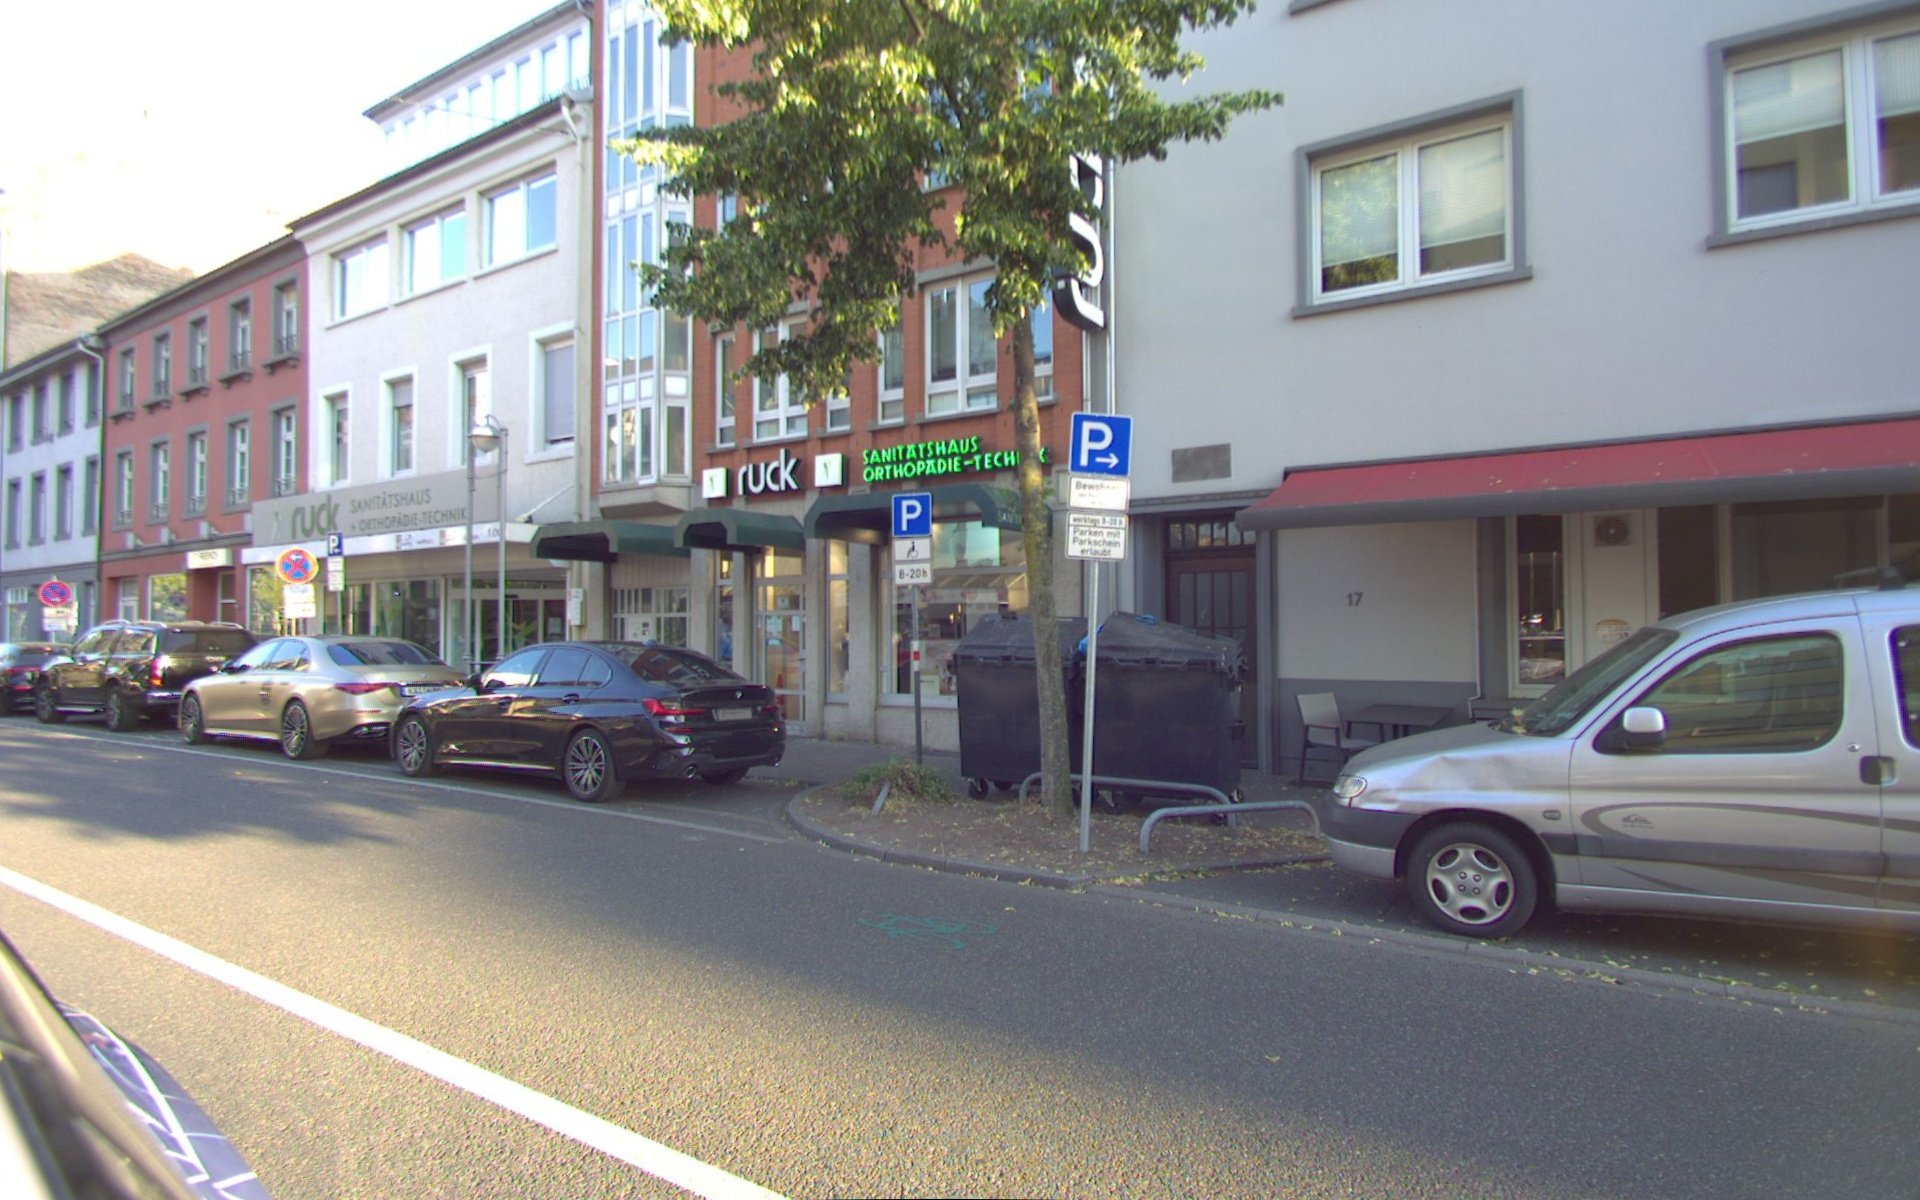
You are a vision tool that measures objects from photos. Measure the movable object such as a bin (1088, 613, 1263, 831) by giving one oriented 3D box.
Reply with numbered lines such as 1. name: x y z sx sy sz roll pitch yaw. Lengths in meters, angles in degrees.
1. movable object such as a bin: 1.767 0.937 8.278 1.203 1.632 0.775 -1 0 30

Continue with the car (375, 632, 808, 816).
1. car: -3.809 1.114 10.173 4.528 1.484 1.706 -2 -5 33

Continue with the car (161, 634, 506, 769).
1. car: -8.422 1.241 13.443 5.094 1.484 1.977 -2 -4 34

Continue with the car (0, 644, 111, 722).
1. car: -19.234 1.656 20.696 4.001 1.448 1.688 -2 -5 32

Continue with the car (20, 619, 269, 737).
1. car: -14.063 1.289 17.377 4.921 1.793 1.708 -2 -4 31

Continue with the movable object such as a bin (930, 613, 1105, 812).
1. movable object such as a bin: 0.514 0.946 9.016 1.331 1.632 0.775 -1 -1 30

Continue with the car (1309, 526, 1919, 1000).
1. car: 3.978 0.702 4.985 4.038 1.902 1.657 -1 -4 31
